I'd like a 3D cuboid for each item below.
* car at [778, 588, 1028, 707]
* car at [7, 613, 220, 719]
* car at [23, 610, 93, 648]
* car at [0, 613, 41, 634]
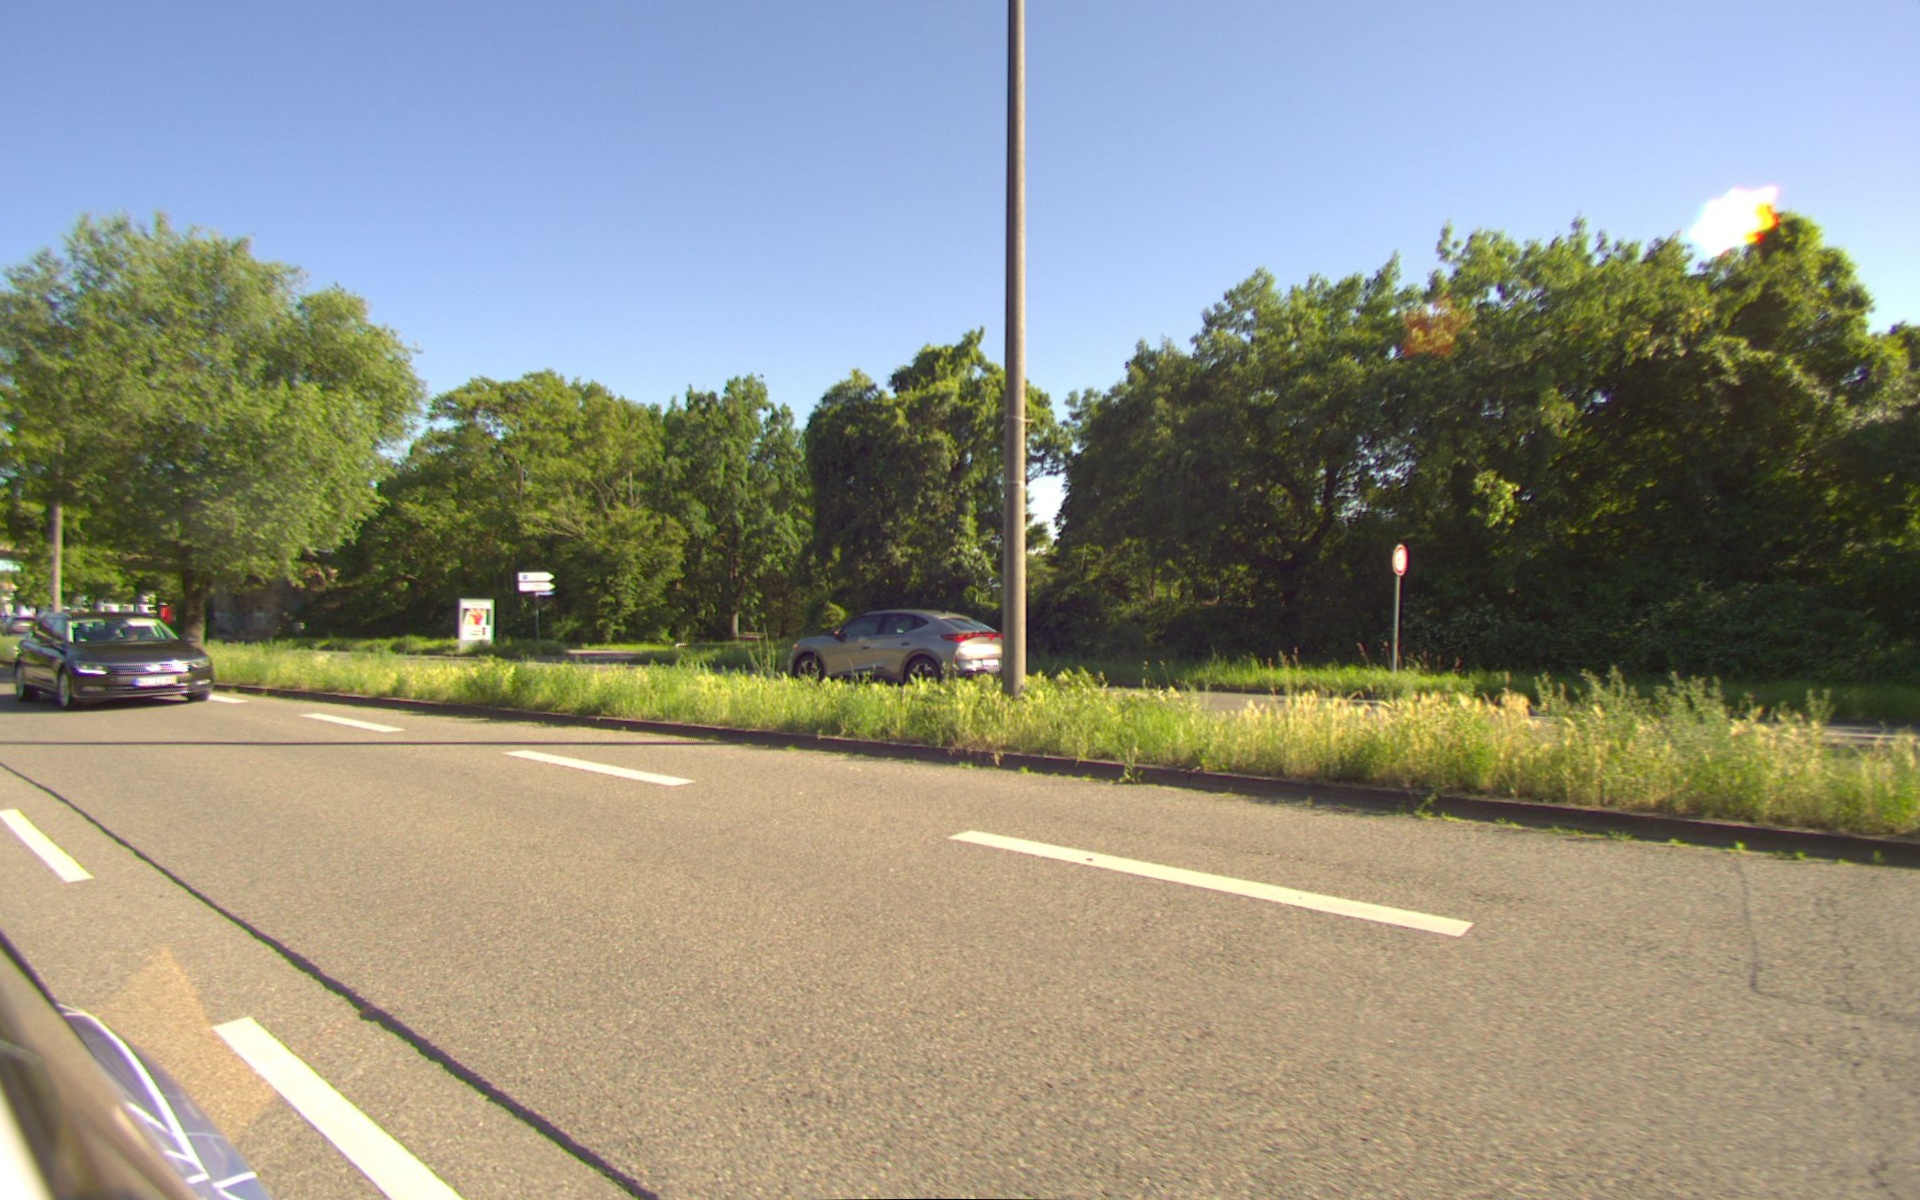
[{"bbox_3d":[-1.157,0.830,19.422,4.572,2.029,1.976,0,-1,35],"label":"car"},{"bbox_3d":[-13.601,0.958,16.179,4.261,1.464,1.826,-1,-2,39],"label":"car"},{"bbox_3d":[-49.354,1.556,55.350,5.239,1.944,1.974,0,-2,39],"label":"car"},{"bbox_3d":[-75.413,1.875,81.133,4.588,1.564,1.963,0,-1,39],"label":"car"}]
